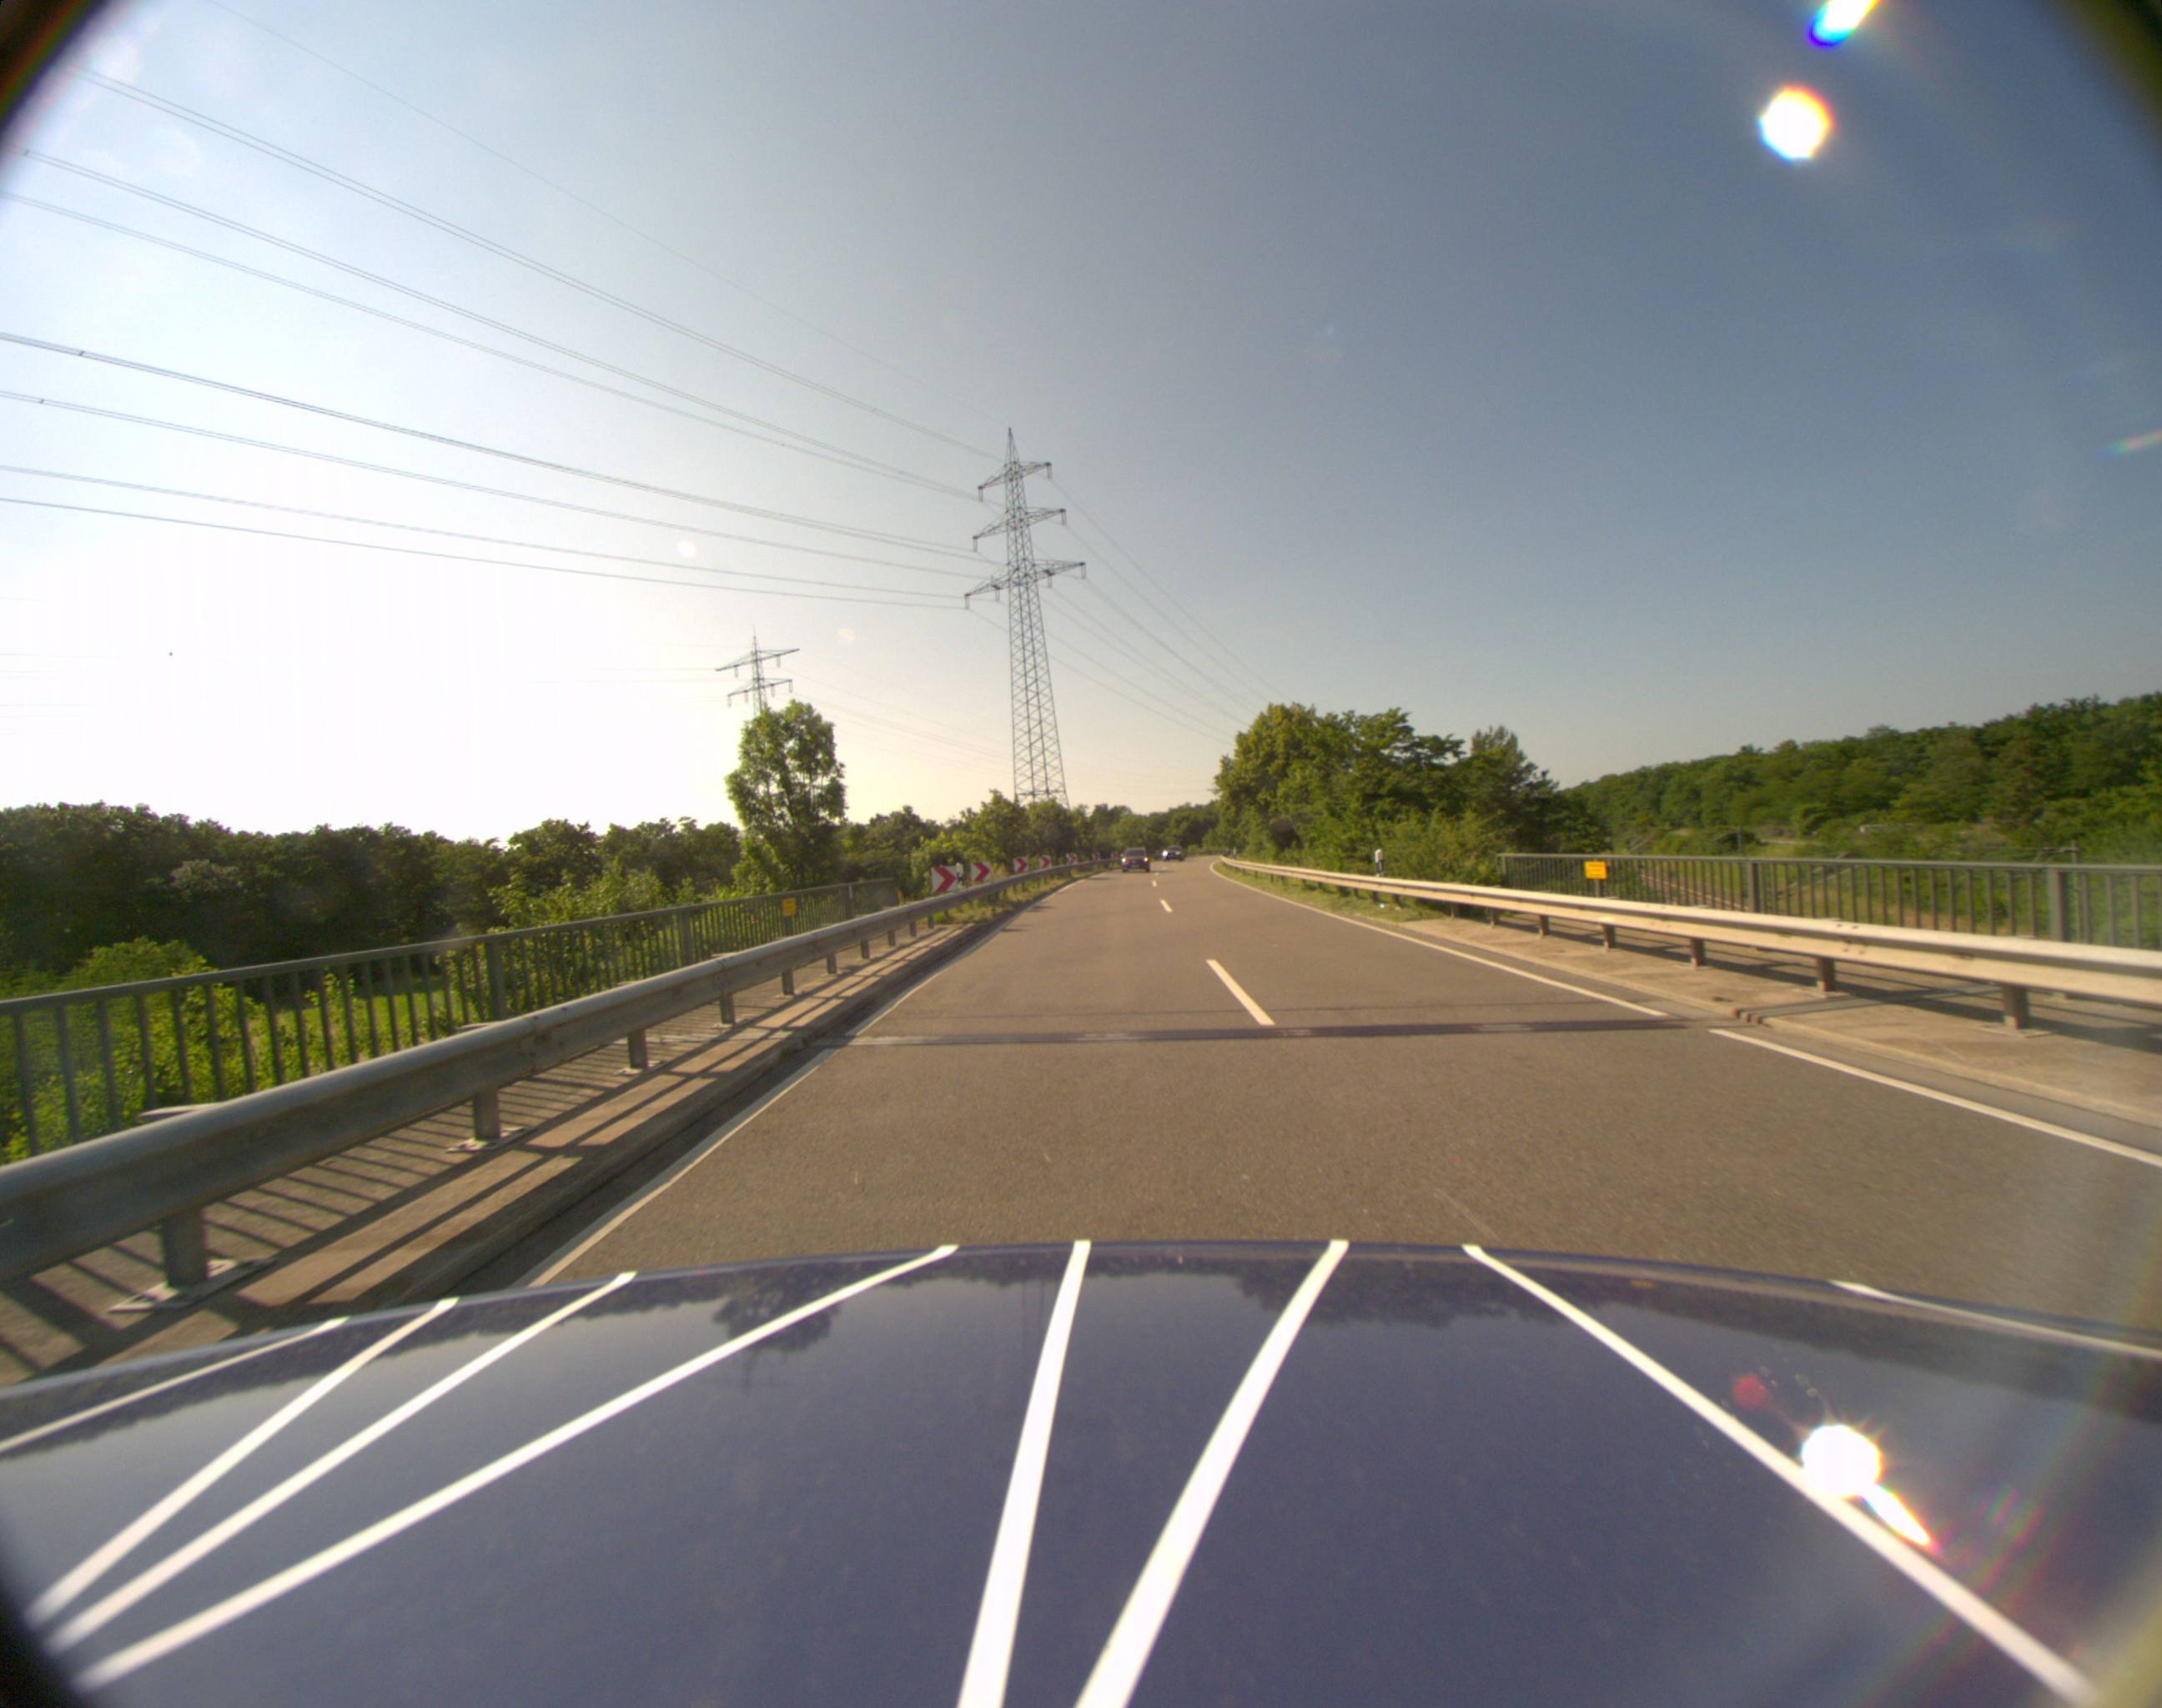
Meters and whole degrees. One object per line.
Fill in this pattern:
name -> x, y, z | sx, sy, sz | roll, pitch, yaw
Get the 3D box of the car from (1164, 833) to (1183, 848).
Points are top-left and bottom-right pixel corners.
car -> 9.991, -1.457, 81.924 | 1.605, 1.486, 4.003 | -2, 2, 13

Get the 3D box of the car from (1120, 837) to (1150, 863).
car -> 3.444, -0.298, 47.701 | 1.606, 1.486, 4.001 | -2, 2, 8
